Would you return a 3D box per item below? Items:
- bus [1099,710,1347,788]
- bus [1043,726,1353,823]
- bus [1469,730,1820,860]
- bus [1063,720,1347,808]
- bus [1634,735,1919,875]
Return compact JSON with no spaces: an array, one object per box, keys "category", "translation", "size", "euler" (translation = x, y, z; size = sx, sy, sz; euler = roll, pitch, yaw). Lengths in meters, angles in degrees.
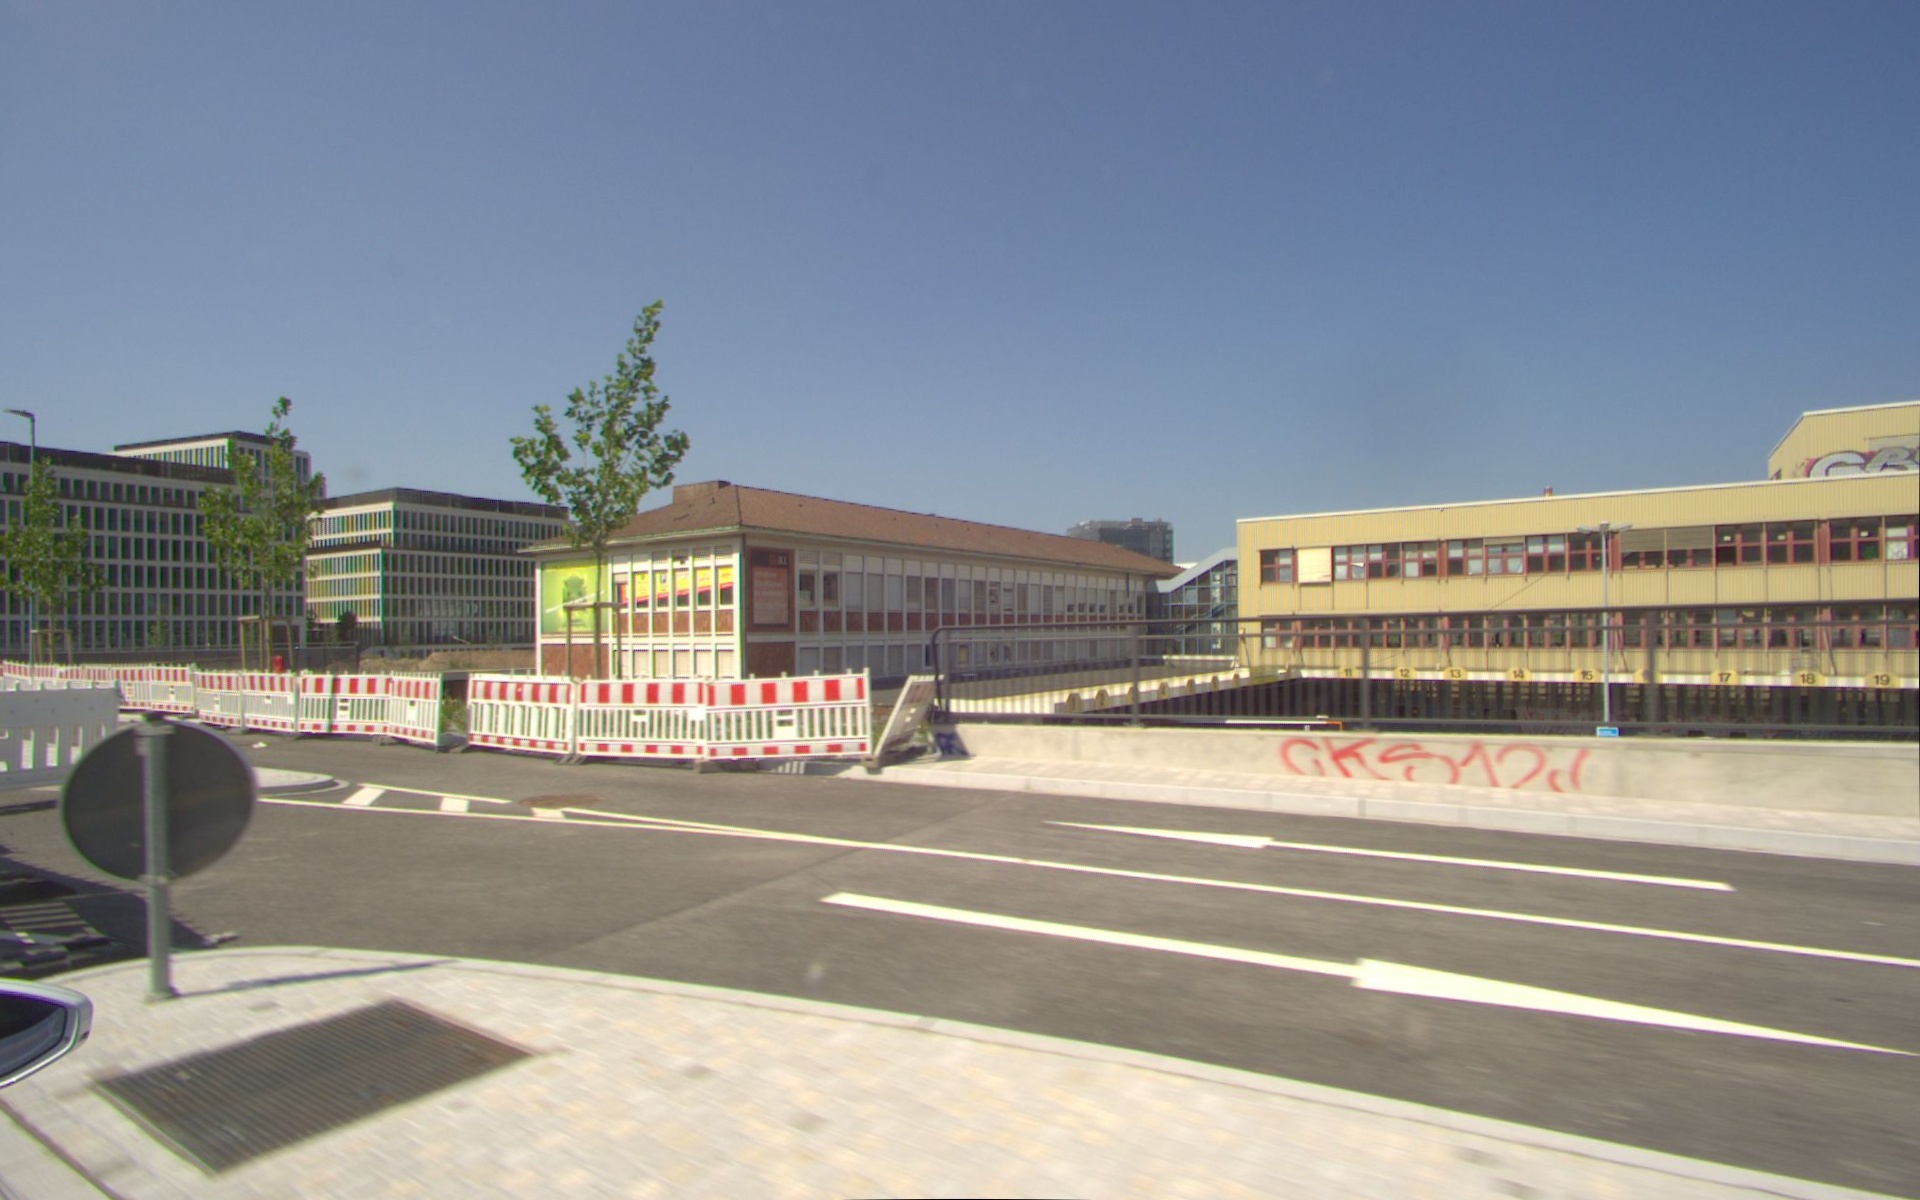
[{"category":"bus","translation":[14.317,8.127,55.001],"size":[12.888,3.811,2.667],"euler":[0,-2,-2]},{"category":"bus","translation":[10.173,7.600,43.855],"size":[12.887,3.811,2.667],"euler":[-1,-2,2]},{"category":"bus","translation":[27.758,7.526,40.130],"size":[16.844,3.811,2.659],"euler":[1,-2,-22]},{"category":"bus","translation":[11.498,7.798,47.989],"size":[12.887,3.811,2.667],"euler":[-1,-2,2]},{"category":"bus","translation":[33.058,7.523,38.233],"size":[17.182,3.811,2.660],"euler":[1,-2,-21]}]
